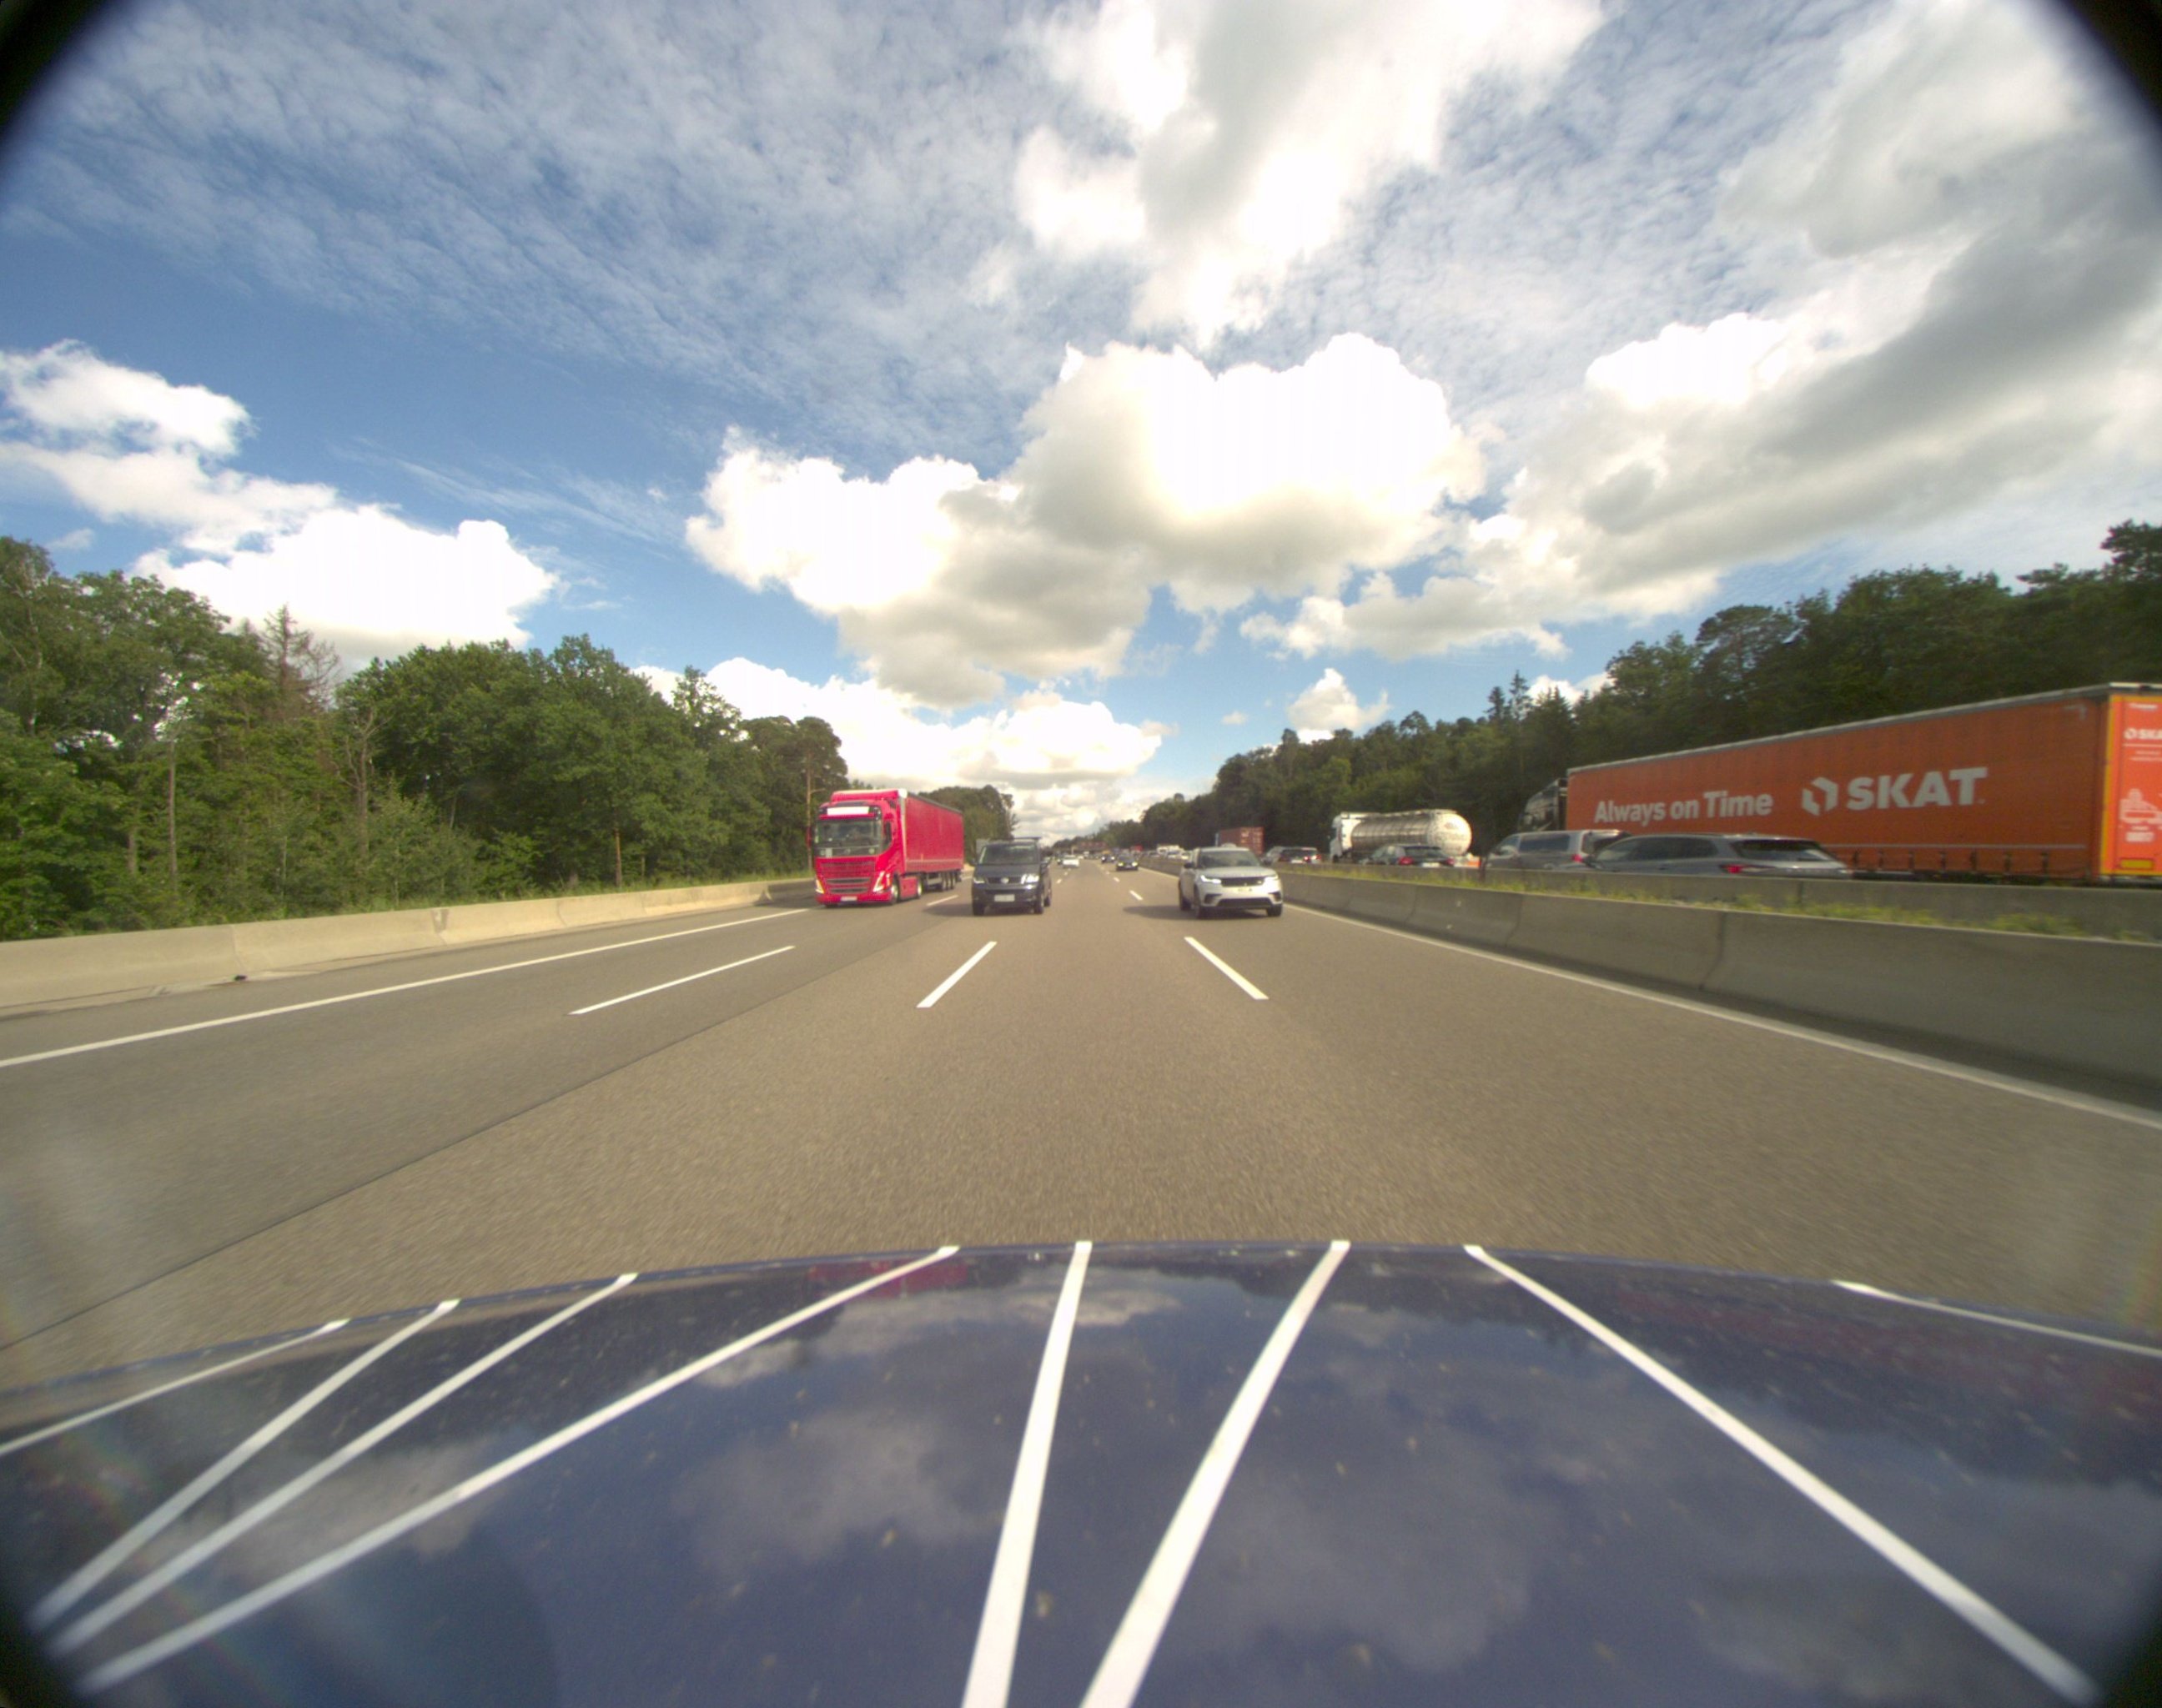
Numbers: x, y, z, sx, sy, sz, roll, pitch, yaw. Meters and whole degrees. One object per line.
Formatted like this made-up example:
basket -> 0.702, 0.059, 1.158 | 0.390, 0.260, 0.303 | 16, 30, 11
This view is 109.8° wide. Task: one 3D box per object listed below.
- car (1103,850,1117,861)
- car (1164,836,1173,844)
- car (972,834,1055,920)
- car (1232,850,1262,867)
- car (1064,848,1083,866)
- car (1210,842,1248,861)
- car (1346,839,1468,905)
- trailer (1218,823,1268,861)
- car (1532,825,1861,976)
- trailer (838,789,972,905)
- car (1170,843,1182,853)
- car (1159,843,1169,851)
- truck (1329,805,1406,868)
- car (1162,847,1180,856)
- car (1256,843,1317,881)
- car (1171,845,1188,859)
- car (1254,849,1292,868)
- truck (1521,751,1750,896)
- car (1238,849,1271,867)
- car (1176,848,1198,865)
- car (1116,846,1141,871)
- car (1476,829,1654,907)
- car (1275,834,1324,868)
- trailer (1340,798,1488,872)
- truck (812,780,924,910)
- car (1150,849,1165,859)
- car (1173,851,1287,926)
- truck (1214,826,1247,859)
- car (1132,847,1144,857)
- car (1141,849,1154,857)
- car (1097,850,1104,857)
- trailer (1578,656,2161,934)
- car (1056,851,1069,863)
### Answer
car -> 4.462, 0.196, 118.230 | 1.911, 1.582, 4.287 | -2, 1, 0
car -> 22.804, -3.558, 198.083 | 1.998, 2.002, 3.999 | -2, 1, 1
car -> -1.807, 0.599, 21.927 | 1.927, 2.153, 4.961 | -1, 0, 0
car -> 14.526, 0.337, 66.677 | 1.693, 1.389, 4.390 | -2, 0, 0
car -> -0.888, 0.305, 88.804 | 1.998, 2.002, 4.000 | -2, 0, 2
car -> 9.881, -0.149, 50.941 | 1.599, 1.167, 4.355 | -2, 0, -1
car -> 10.359, 0.519, 24.575 | 1.821, 1.871, 4.903 | -2, 0, 0
trailer -> 18.393, -1.391, 87.187 | 2.957, 3.961, 12.890 | -2, 1, 0
car -> 9.807, 0.604, 12.733 | 1.747, 2.002, 4.682 | -2, 1, 1
trailer -> -7.363, -0.289, 34.525 | 2.531, 4.096, 14.376 | -2, 0, 0
car -> 18.993, -1.193, 152.034 | 1.998, 2.002, 4.000 | -2, 0, 0
car -> 18.677, -1.607, 170.857 | 1.949, 1.587, 3.613 | -2, 0, 0
truck -> 18.127, -1.083, 48.404 | 2.964, 3.725, 5.109 | -2, 1, 0
car -> 10.710, -0.299, 90.579 | 1.575, 0.992, 4.000 | -2, 0, 0
car -> 10.336, 0.364, 38.601 | 1.821, 1.735, 4.903 | -2, 0, 1
car -> 14.889, -0.362, 114.888 | 1.998, 2.002, 3.999 | -2, 1, 0
car -> 14.624, 0.317, 58.098 | 1.693, 1.344, 4.329 | -2, 0, -1
truck -> 17.747, -0.895, 25.008 | 2.621, 4.047, 6.717 | -2, 0, 0
car -> 14.565, 0.336, 64.006 | 1.693, 1.389, 4.390 | -2, 0, 0
car -> 10.415, 0.222, 74.715 | 1.515, 1.552, 3.999 | -2, 0, -1
car -> 4.125, 0.374, 66.722 | 1.919, 2.002, 4.000 | -2, 0, 1
car -> 13.824, 0.336, 22.161 | 1.998, 1.948, 4.990 | -2, 1, 0
car -> 13.998, -0.197, 48.930 | 1.821, 2.094, 4.478 | -2, 0, -1
trailer -> 18.053, -0.998, 42.541 | 2.957, 3.478, 12.230 | -2, 1, 0
truck -> -7.425, -0.298, 27.147 | 2.532, 4.178, 4.653 | -2, 1, 0
car -> 11.138, -0.020, 110.975 | 1.762, 1.271, 4.000 | -2, 0, 0
car -> 3.571, 0.759, 19.171 | 1.904, 1.597, 5.105 | -2, 0, 1
truck -> 18.470, -1.413, 94.069 | 2.963, 3.963, 5.152 | -2, 1, 0
car -> 11.049, -0.323, 147.491 | 1.998, 1.838, 4.000 | -2, 0, 0
car -> 10.935, -0.208, 124.691 | 1.762, 1.271, 4.000 | -2, 0, 0
car -> 5.243, -0.041, 204.918 | 1.804, 1.783, 3.758 | -1, 0, 1
trailer -> 17.666, -1.048, 18.373 | 2.646, 4.295, 13.175 | -2, 1, 0
car -> -2.947, 0.455, 118.803 | 1.911, 1.582, 4.286 | -2, 1, -2
